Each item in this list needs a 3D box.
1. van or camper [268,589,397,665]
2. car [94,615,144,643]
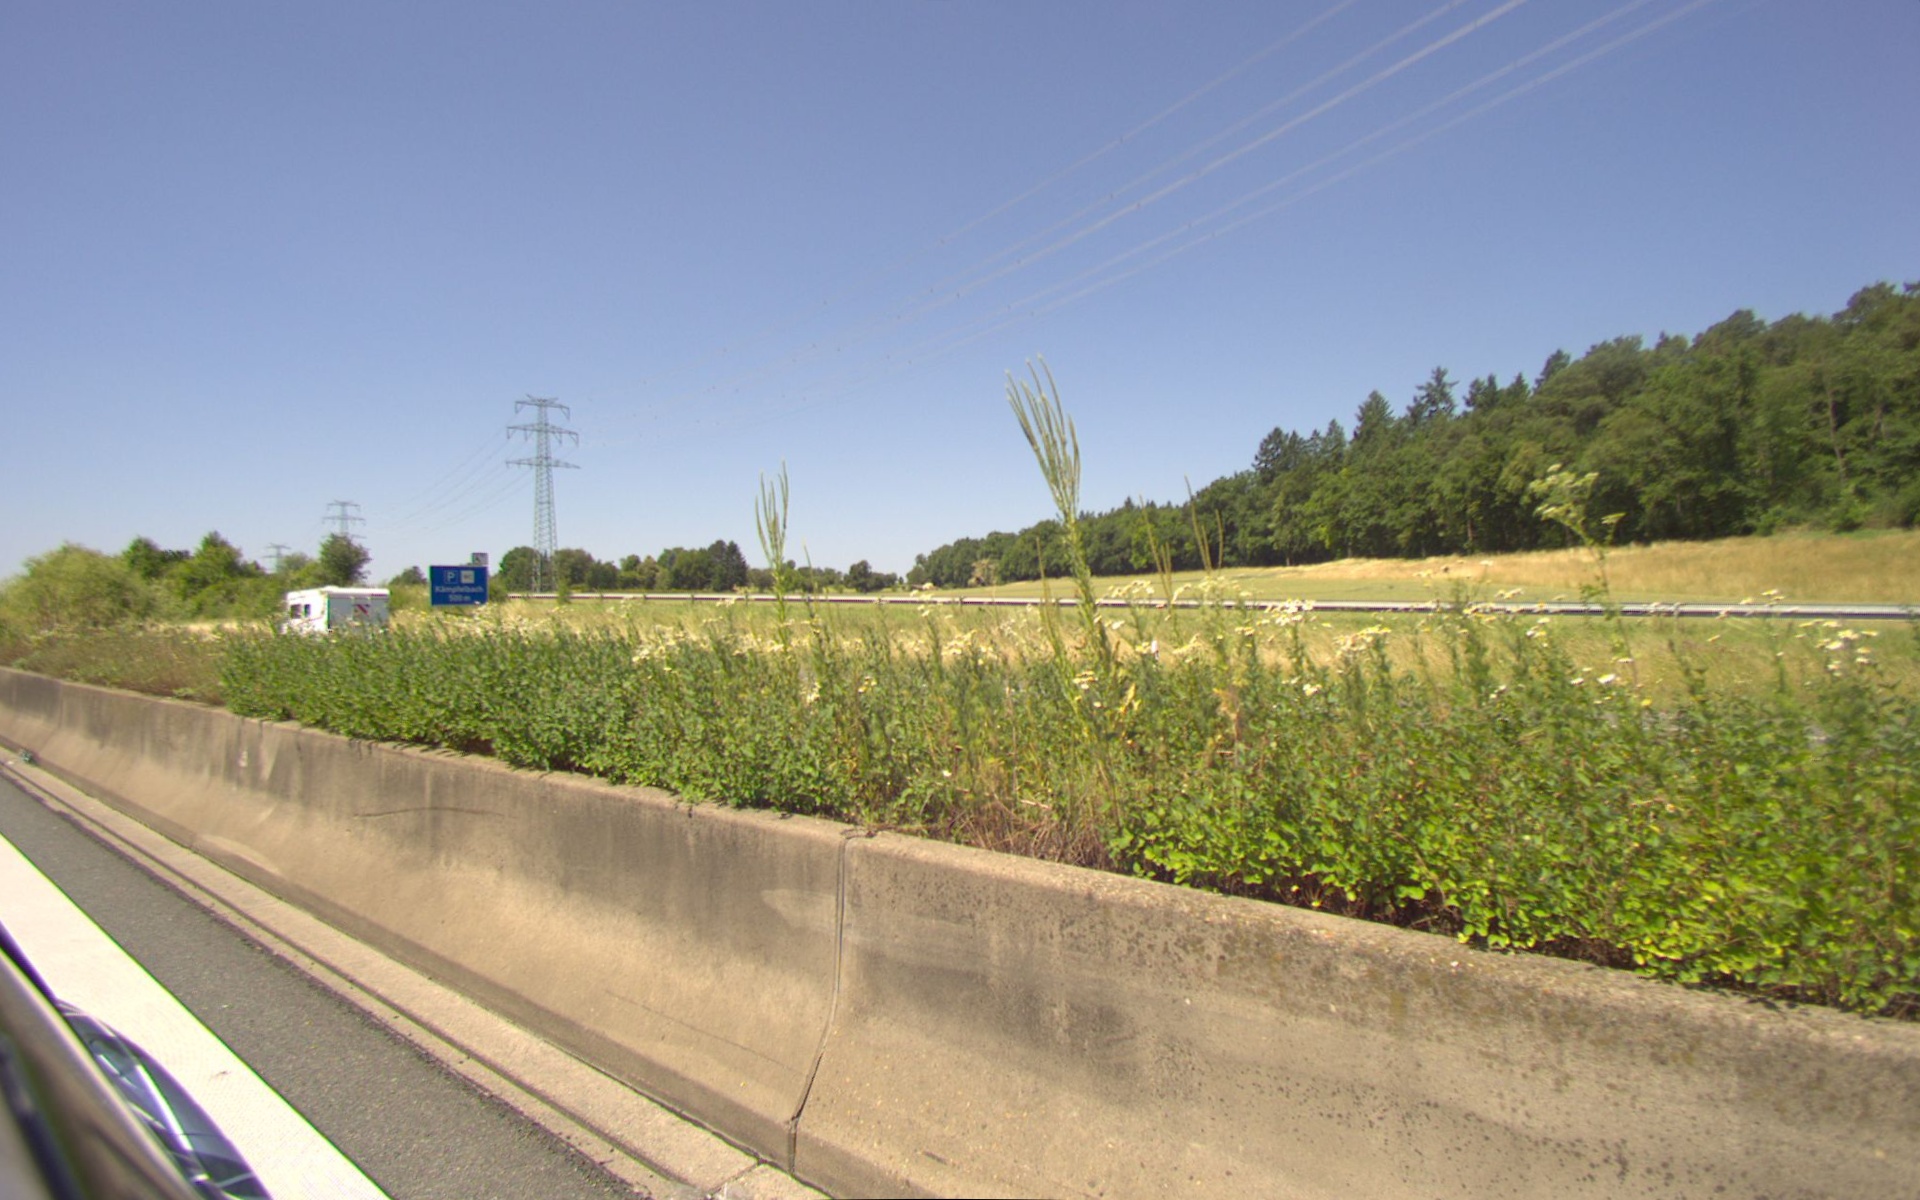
[{"bbox_3d":[-25.849,1.019,41.546,7.063,2.859,2.526,0,1,41],"label":"van or camper"},{"bbox_3d":[-40.948,1.378,49.244,3.039,1.255,1.397,0,1,41],"label":"car"}]
